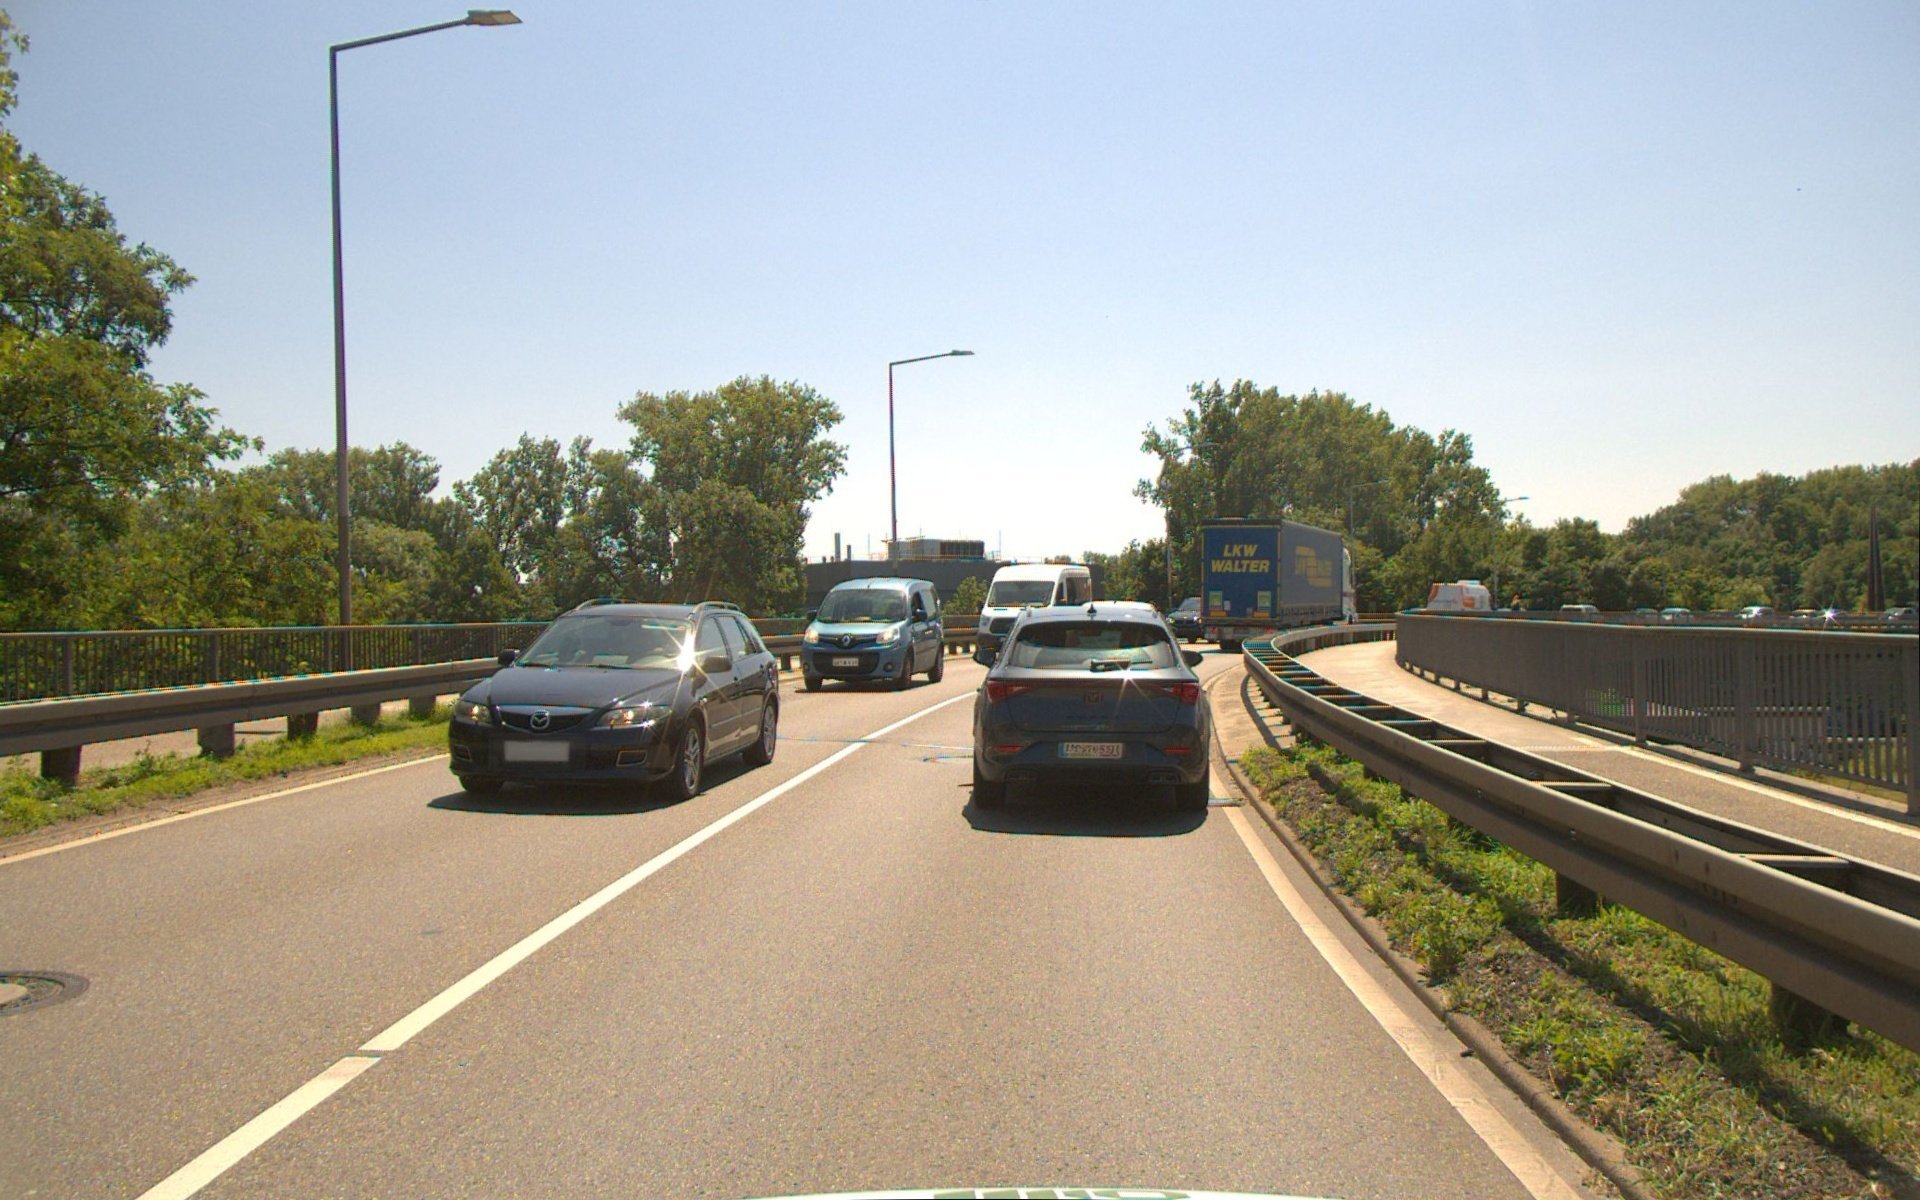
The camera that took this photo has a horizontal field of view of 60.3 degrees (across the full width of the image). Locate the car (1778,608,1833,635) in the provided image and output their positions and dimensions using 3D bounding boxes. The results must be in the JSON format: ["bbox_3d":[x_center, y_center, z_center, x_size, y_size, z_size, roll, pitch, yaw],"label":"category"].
[{"bbox_3d":[62.270,1.589,121.805,3.949,1.882,1.874,2,-1,-33],"label":"car"}]

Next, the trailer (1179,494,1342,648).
[{"bbox_3d":[10.593,-0.834,56.873,3.070,4.695,12.947,1,0,21],"label":"trailer"}]

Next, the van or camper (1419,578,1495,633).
[{"bbox_3d":[25.799,0.251,85.736,2.164,2.758,5.907,0,0,34],"label":"van or camper"}]

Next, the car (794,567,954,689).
[{"bbox_3d":[-1.369,0.450,28.116,1.719,1.887,4.279,1,0,11],"label":"car"}]

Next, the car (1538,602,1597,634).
[{"bbox_3d":[36.560,1.085,99.518,1.863,1.882,3.971,1,-1,45],"label":"car"}]

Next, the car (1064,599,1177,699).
[{"bbox_3d":[2.693,0.756,27.124,1.559,1.486,3.547,1,0,10],"label":"car"}]

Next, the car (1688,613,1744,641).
[{"bbox_3d":[52.401,1.884,114.611,3.957,1.882,1.870,2,-1,-37],"label":"car"}]

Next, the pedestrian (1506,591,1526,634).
[{"bbox_3d":[26.233,0.582,77.974,0.724,2.002,0.732,1,-1,33],"label":"pedestrian"}]

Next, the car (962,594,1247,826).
[{"bbox_3d":[0.962,0.724,12.843,1.808,1.525,3.757,1,0,-1],"label":"car"}]

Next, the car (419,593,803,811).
[{"bbox_3d":[-2.630,0.708,13.672,1.719,1.468,4.571,1,0,7],"label":"car"}]

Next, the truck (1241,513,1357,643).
[{"bbox_3d":[13.065,-0.741,63.257,3.105,4.665,7.396,1,-1,21],"label":"truck"}]

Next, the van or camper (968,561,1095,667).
[{"bbox_3d":[1.990,0.294,43.718,2.005,2.581,5.888,1,1,16],"label":"van or camper"}]
